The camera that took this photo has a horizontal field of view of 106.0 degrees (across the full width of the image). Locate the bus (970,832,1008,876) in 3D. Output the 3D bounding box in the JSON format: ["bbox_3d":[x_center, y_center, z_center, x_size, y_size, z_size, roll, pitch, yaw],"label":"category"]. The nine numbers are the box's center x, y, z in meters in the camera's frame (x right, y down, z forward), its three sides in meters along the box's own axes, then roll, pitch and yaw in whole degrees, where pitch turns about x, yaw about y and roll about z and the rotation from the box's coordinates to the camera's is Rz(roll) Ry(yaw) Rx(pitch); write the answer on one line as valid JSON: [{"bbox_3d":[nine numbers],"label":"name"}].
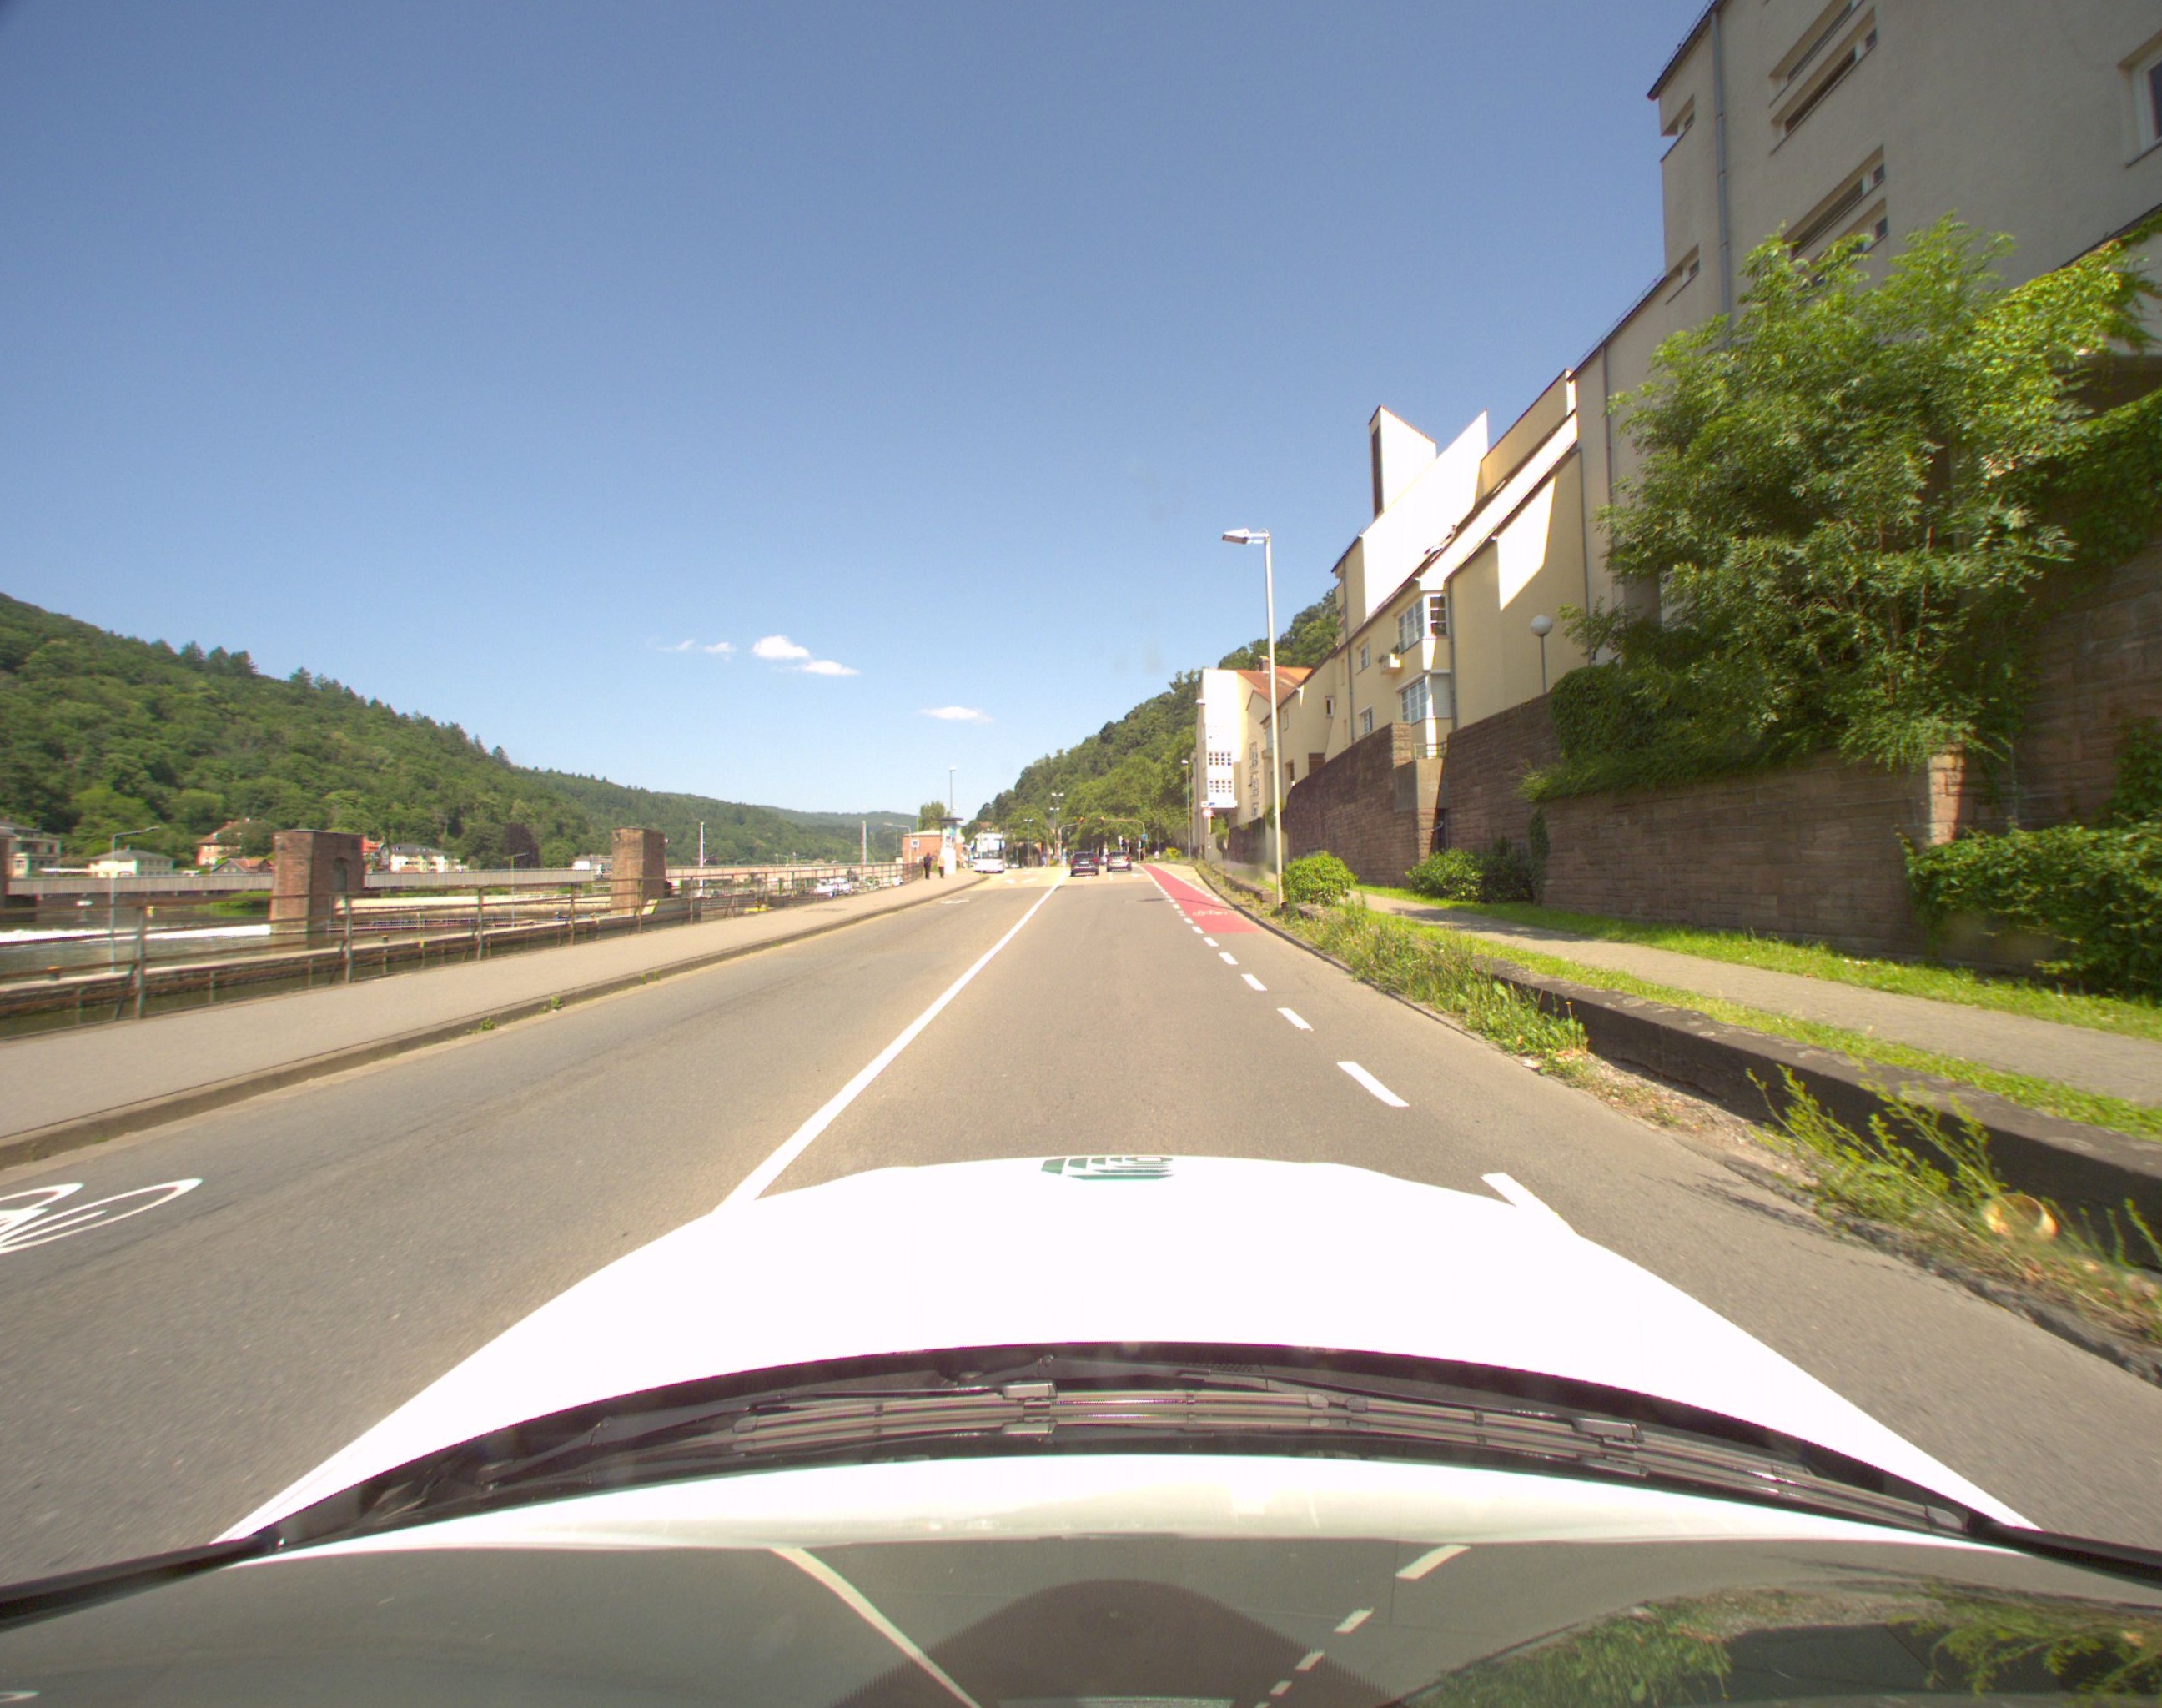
[{"bbox_3d":[-8.590,0.065,77.773,2.951,3.801,13.223,-2,-1,-4],"label":"bus"}]

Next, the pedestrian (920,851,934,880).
[{"bbox_3d":[-9.459,0.710,50.009,0.680,1.709,0.773,-2,-1,0],"label":"pedestrian"}]

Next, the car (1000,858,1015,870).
[{"bbox_3d":[-16.513,2.250,182.854,2.386,2.576,6.027,-3,0,-13],"label":"car"}]

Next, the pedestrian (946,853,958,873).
[{"bbox_3d":[-11.662,0.813,73.654,0.891,1.796,1.039,-2,-1,-5],"label":"pedestrian"}]

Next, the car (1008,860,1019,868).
[{"bbox_3d":[-13.285,2.004,159.986,1.993,1.432,4.154,-3,0,-9],"label":"car"}]

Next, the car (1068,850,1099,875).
[{"bbox_3d":[0.192,0.525,52.081,1.862,1.514,4.151,-1,-1,1],"label":"car"}]

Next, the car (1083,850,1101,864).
[{"bbox_3d":[1.217,0.375,94.554,1.861,1.562,3.997,-2,0,-2],"label":"car"}]

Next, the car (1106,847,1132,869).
[{"bbox_3d":[2.814,0.306,61.075,1.882,1.521,4.306,-1,-1,1],"label":"car"}]

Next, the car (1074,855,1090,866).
[{"bbox_3d":[0.142,0.831,103.187,1.861,1.359,3.997,-2,0,-2],"label":"car"}]

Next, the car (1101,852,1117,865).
[{"bbox_3d":[3.515,0.604,103.349,1.780,1.532,4.735,-3,-1,0],"label":"car"}]

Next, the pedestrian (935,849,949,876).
[{"bbox_3d":[-8.816,0.538,51.663,0.701,1.621,0.816,-2,-1,-4],"label":"pedestrian"}]

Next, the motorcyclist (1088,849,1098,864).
[{"bbox_3d":[1.338,0.274,89.073,1.072,1.684,1.156,-2,0,0],"label":"motorcyclist"}]
